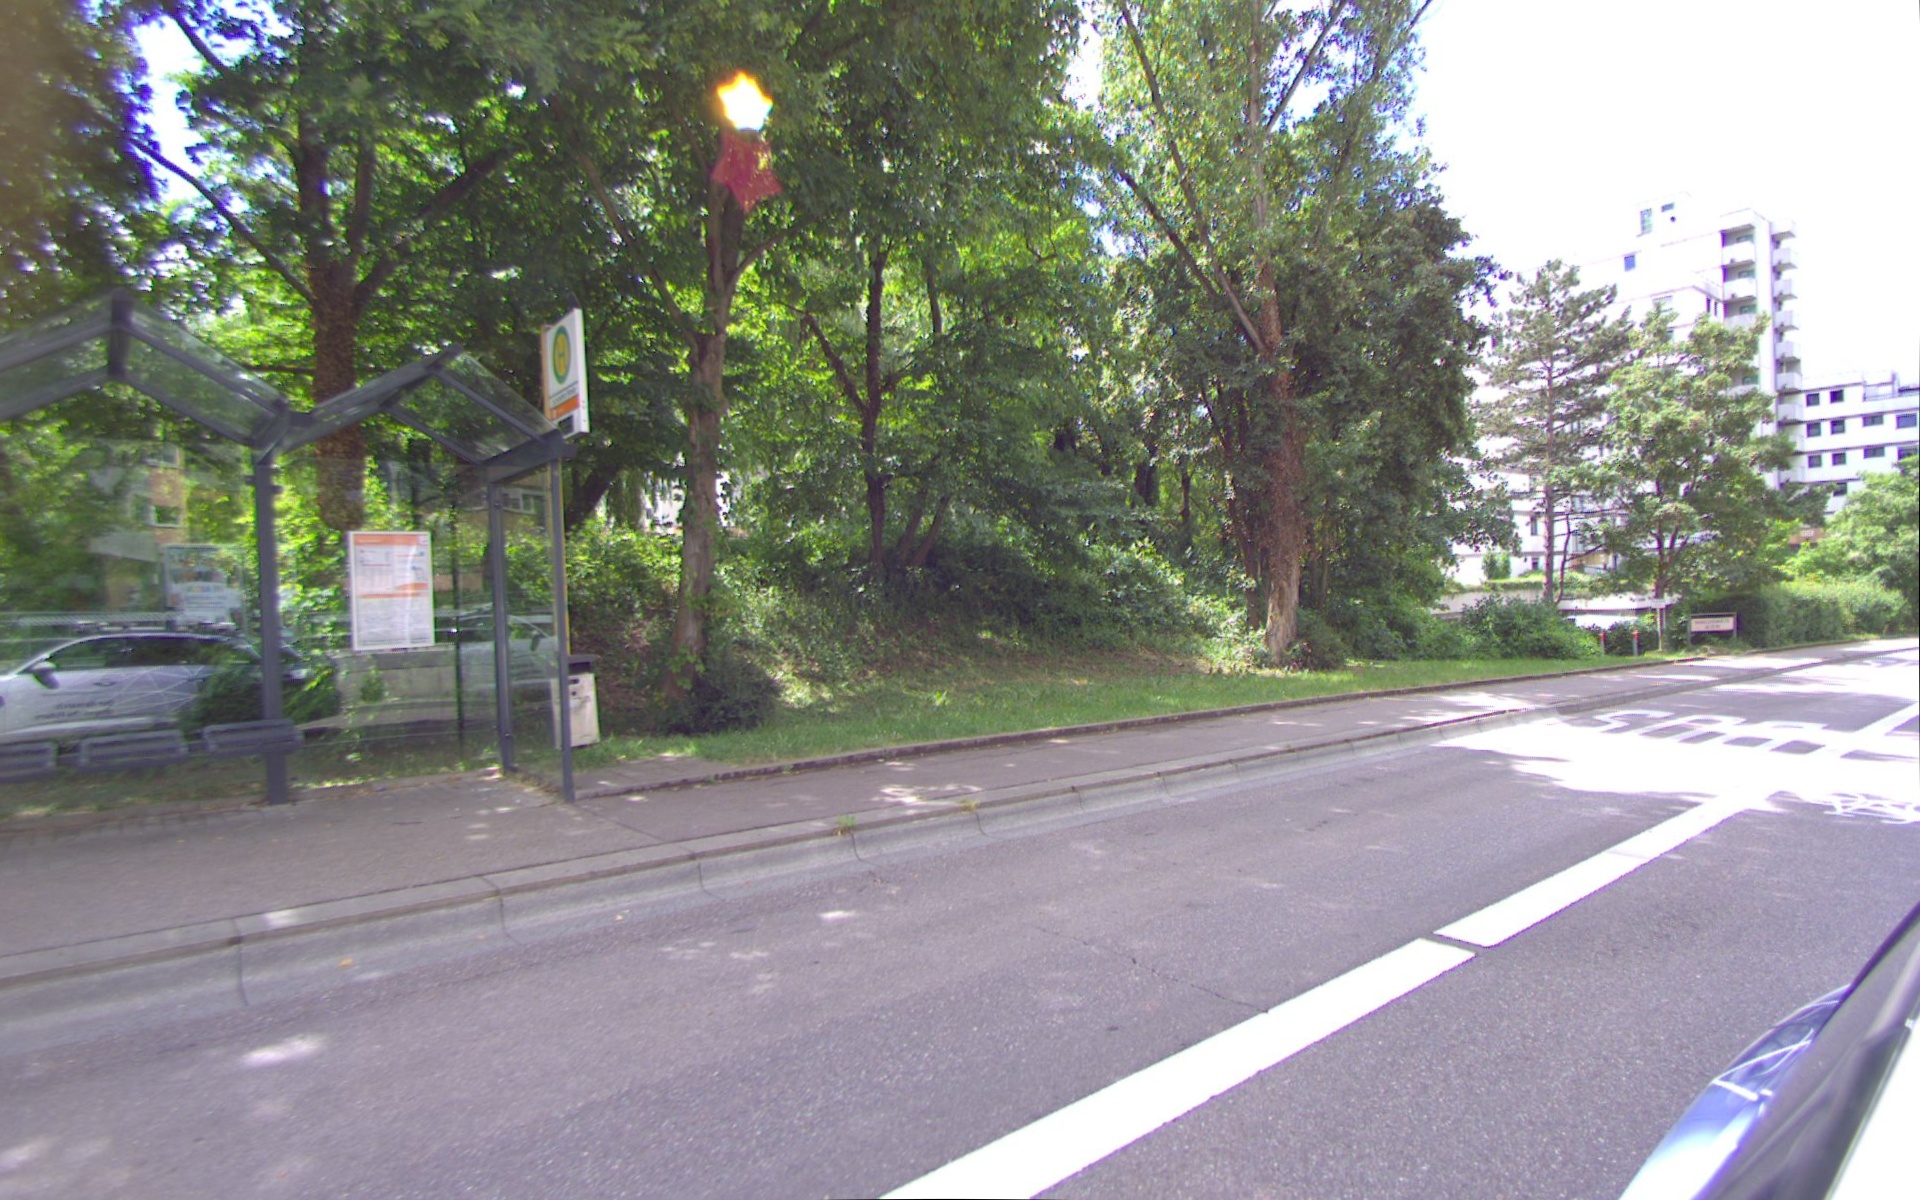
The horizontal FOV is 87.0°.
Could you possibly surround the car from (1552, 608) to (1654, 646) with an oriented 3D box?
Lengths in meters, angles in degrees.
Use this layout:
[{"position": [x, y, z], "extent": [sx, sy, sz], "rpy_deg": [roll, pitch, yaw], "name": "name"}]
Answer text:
[{"position": [36.778, 1.497, 57.987], "extent": [1.962, 2.039, 4.550], "rpy_deg": [0, 0, -34], "name": "car"}]
